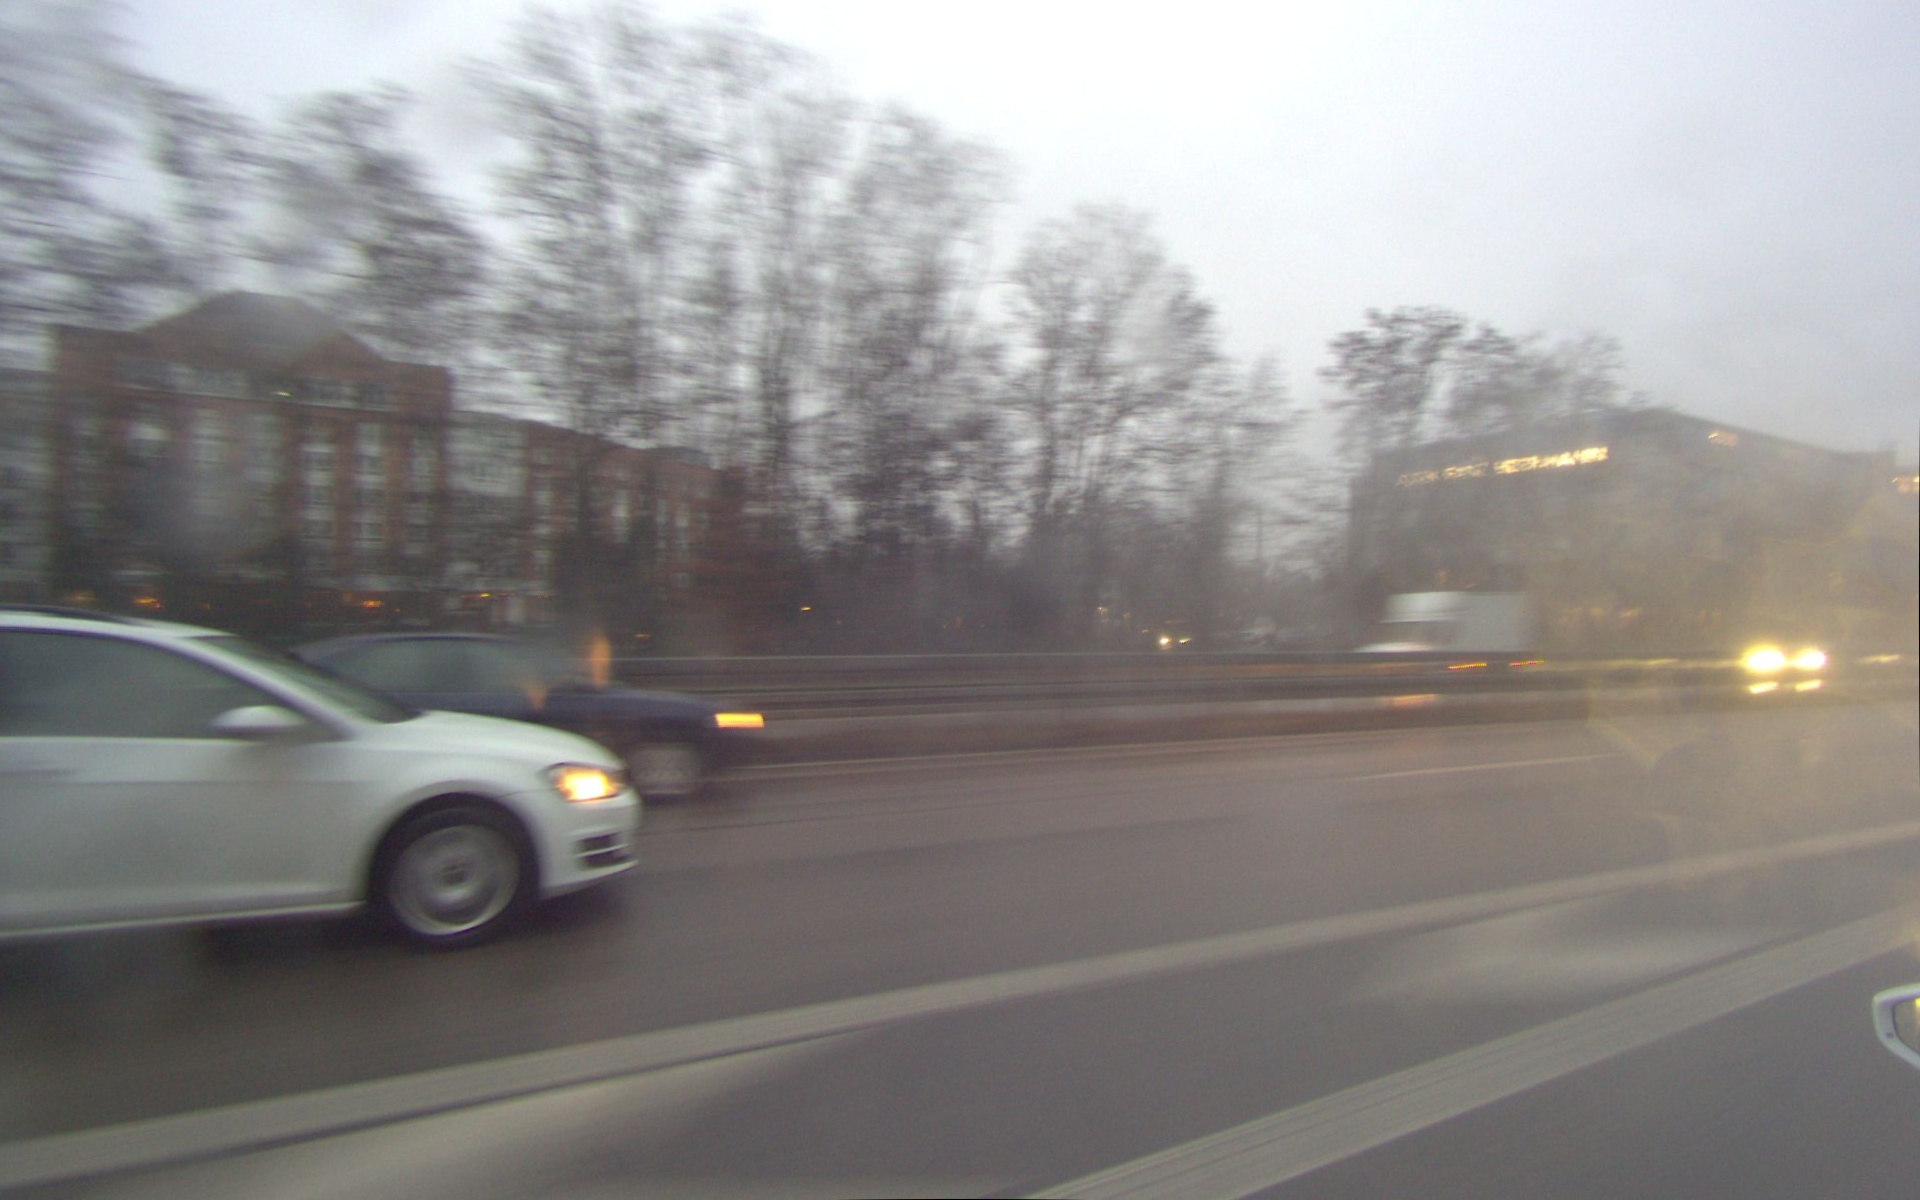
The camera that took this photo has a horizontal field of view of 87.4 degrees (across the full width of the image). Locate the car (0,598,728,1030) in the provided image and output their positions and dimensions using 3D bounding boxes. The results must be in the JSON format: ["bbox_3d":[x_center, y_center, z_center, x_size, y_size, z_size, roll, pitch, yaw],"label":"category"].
[{"bbox_3d":[-3.635,0.794,4.575,4.725,1.540,1.941,1,-2,-27],"label":"car"}]

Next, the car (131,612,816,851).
[{"bbox_3d":[-3.696,0.941,8.400,4.640,1.554,1.771,1,-3,-26],"label":"car"}]

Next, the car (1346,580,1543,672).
[{"bbox_3d":[15.885,0.817,32.877,6.259,2.767,2.518,1,1,-27],"label":"car"}]

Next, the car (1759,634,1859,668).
[{"bbox_3d":[36.476,2.161,43.133,4.415,1.339,1.703,1,1,-27],"label":"car"}]
